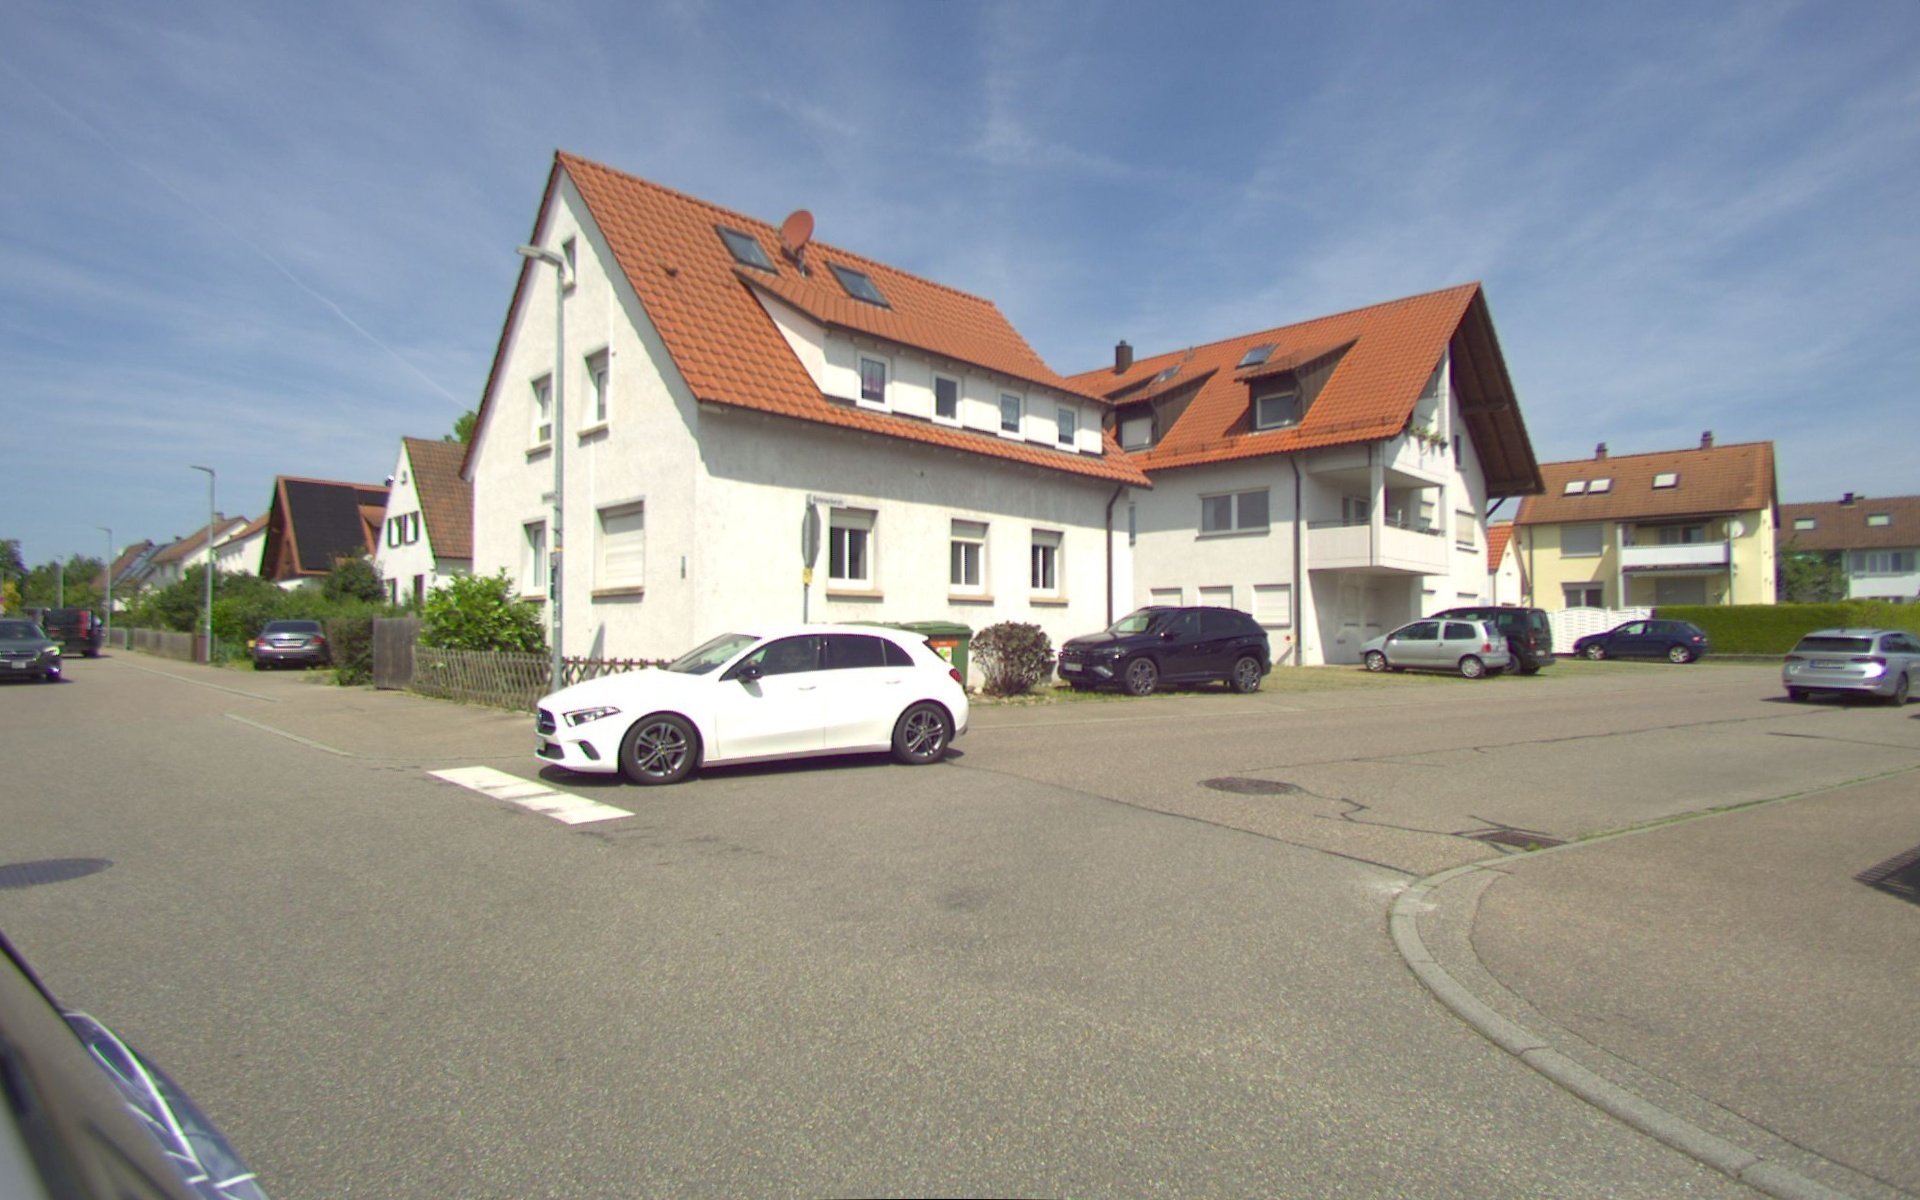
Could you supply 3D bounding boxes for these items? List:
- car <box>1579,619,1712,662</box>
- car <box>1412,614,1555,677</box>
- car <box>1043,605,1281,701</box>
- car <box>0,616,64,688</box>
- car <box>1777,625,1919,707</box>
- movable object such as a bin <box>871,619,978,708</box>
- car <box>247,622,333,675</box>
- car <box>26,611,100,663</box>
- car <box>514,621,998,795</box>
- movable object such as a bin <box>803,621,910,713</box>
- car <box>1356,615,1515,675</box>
[{"bbox_3d":[23.744,1.369,35.125,3.662,1.400,1.444,-1,-1,42],"label":"car"},{"bbox_3d":[13.796,1.153,26.769,1.211,1.536,3.132,1,-1,-42],"label":"car"},{"bbox_3d":[3.848,0.938,19.124,4.204,1.559,1.796,1,2,-29],"label":"car"},{"bbox_3d":[-23.547,1.235,24.798,4.321,1.660,1.814,-1,-1,41],"label":"car"},{"bbox_3d":[18.266,1.229,20.035,4.509,1.449,1.764,1,-1,-30],"label":"car"},{"bbox_3d":[-0.592,1.002,16.598,1.246,1.346,1.316,0,0,-37],"label":"movable object such as a bin"},{"bbox_3d":[-20.164,1.407,30.604,1.801,1.443,4.577,0,-1,-29],"label":"car"},{"bbox_3d":[-36.102,1.457,40.676,1.945,1.966,4.699,1,-2,-45],"label":"car"},{"bbox_3d":[-1.993,0.925,10.273,4.418,1.408,1.935,1,-1,-31],"label":"car"},{"bbox_3d":[-1.612,1.006,15.720,1.246,1.323,1.169,0,-1,-37],"label":"movable object such as a bin"},{"bbox_3d":[11.922,1.112,25.496,1.310,1.410,3.380,2,-3,-45],"label":"car"}]
